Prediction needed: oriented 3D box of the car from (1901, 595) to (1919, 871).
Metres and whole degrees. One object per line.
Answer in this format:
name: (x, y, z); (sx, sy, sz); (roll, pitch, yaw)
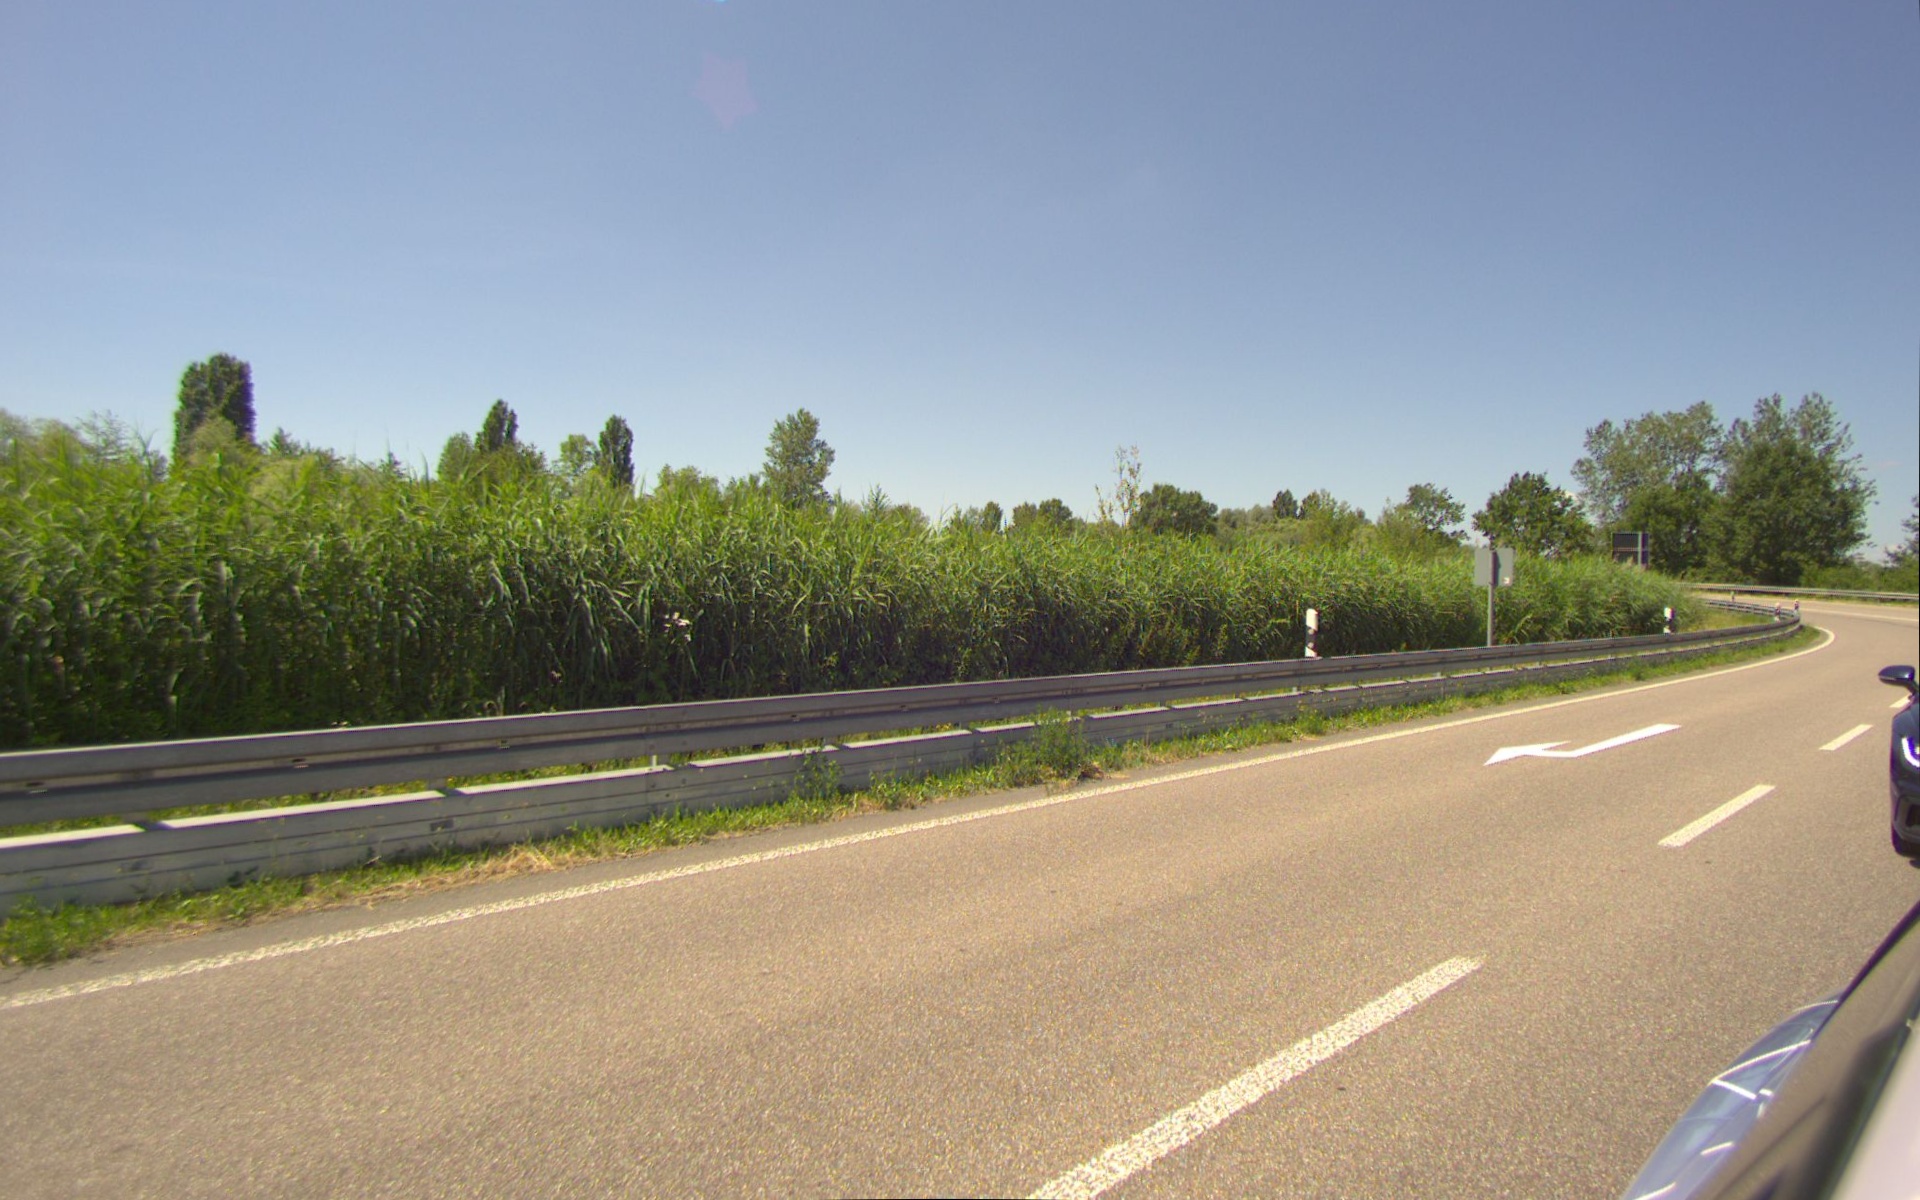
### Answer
car: (6.988, 0.682, 5.953); (3.931, 1.427, 1.759); (-1, 1, -41)
